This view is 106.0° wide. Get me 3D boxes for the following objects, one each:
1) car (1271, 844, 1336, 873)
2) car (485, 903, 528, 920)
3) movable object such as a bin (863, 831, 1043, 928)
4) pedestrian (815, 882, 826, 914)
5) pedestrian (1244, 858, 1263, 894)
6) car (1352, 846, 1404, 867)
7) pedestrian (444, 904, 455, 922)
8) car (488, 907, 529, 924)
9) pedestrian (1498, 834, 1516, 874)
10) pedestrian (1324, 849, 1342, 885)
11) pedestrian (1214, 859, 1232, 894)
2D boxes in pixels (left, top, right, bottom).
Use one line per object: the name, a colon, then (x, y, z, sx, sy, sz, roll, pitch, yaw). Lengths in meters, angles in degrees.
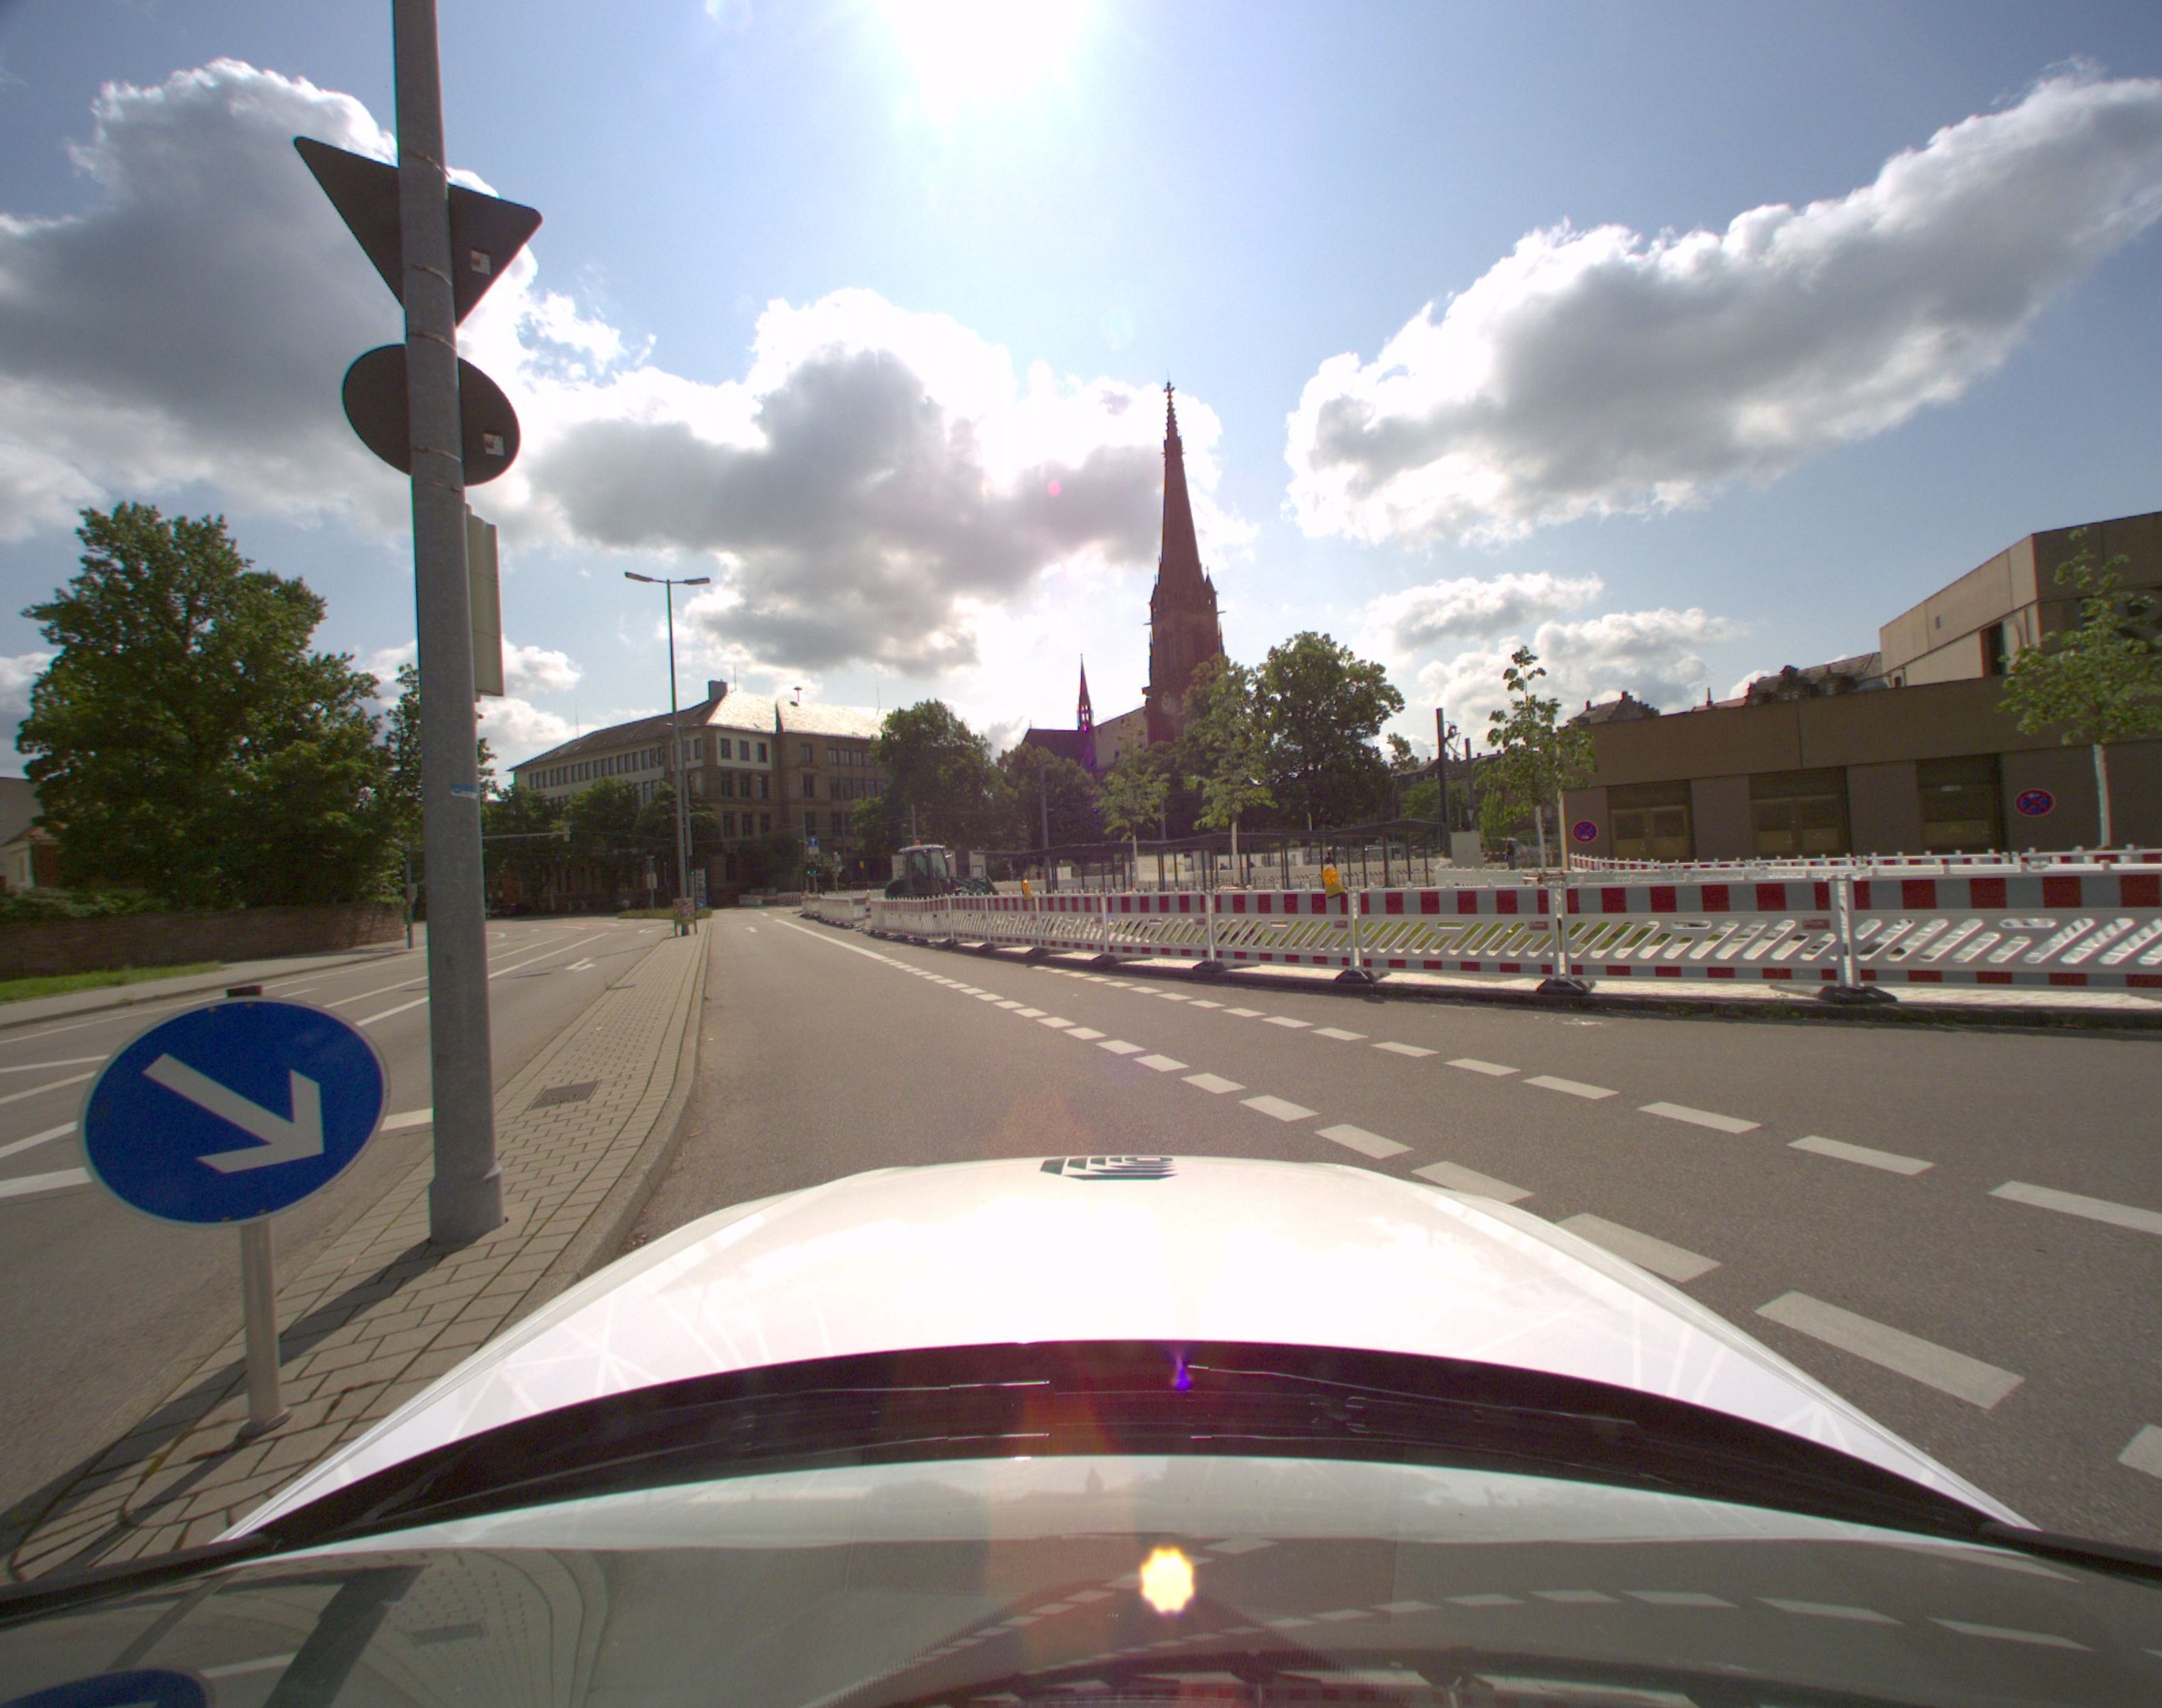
car: (16.124, 0.334, 58.966, 4.126, 1.882, 1.814, -4, -1, 30)
car: (-69.047, 6.870, 97.953, 4.014, 1.684, 1.785, -3, -1, -31)
movable object such as a bin: (-4.356, 0.877, 27.671, 5.476, 2.885, 2.300, -4, -1, 22)
pedestrian: (-15.637, 2.646, 48.879, 0.498, 1.850, 0.526, -3, -1, -15)
pedestrian: (10.057, 1.287, 47.452, 0.753, 2.014, 0.755, -4, -1, 28)
car: (28.970, 0.229, 79.476, 4.315, 1.793, 1.795, -4, -1, 39)
pedestrian: (-74.958, 7.001, 96.711, 0.884, 2.014, 0.702, -4, -2, 34)
car: (-70.431, 7.568, 100.250, 4.014, 1.684, 1.785, -3, -1, -31)
pedestrian: (21.970, 0.021, 41.997, 0.693, 2.014, 0.559, -4, -1, 30)
pedestrian: (14.432, 0.733, 46.644, 0.753, 2.014, 0.755, -4, -1, 28)
pedestrian: (8.517, 1.360, 48.900, 0.741, 2.014, 0.767, -4, -1, 27)
